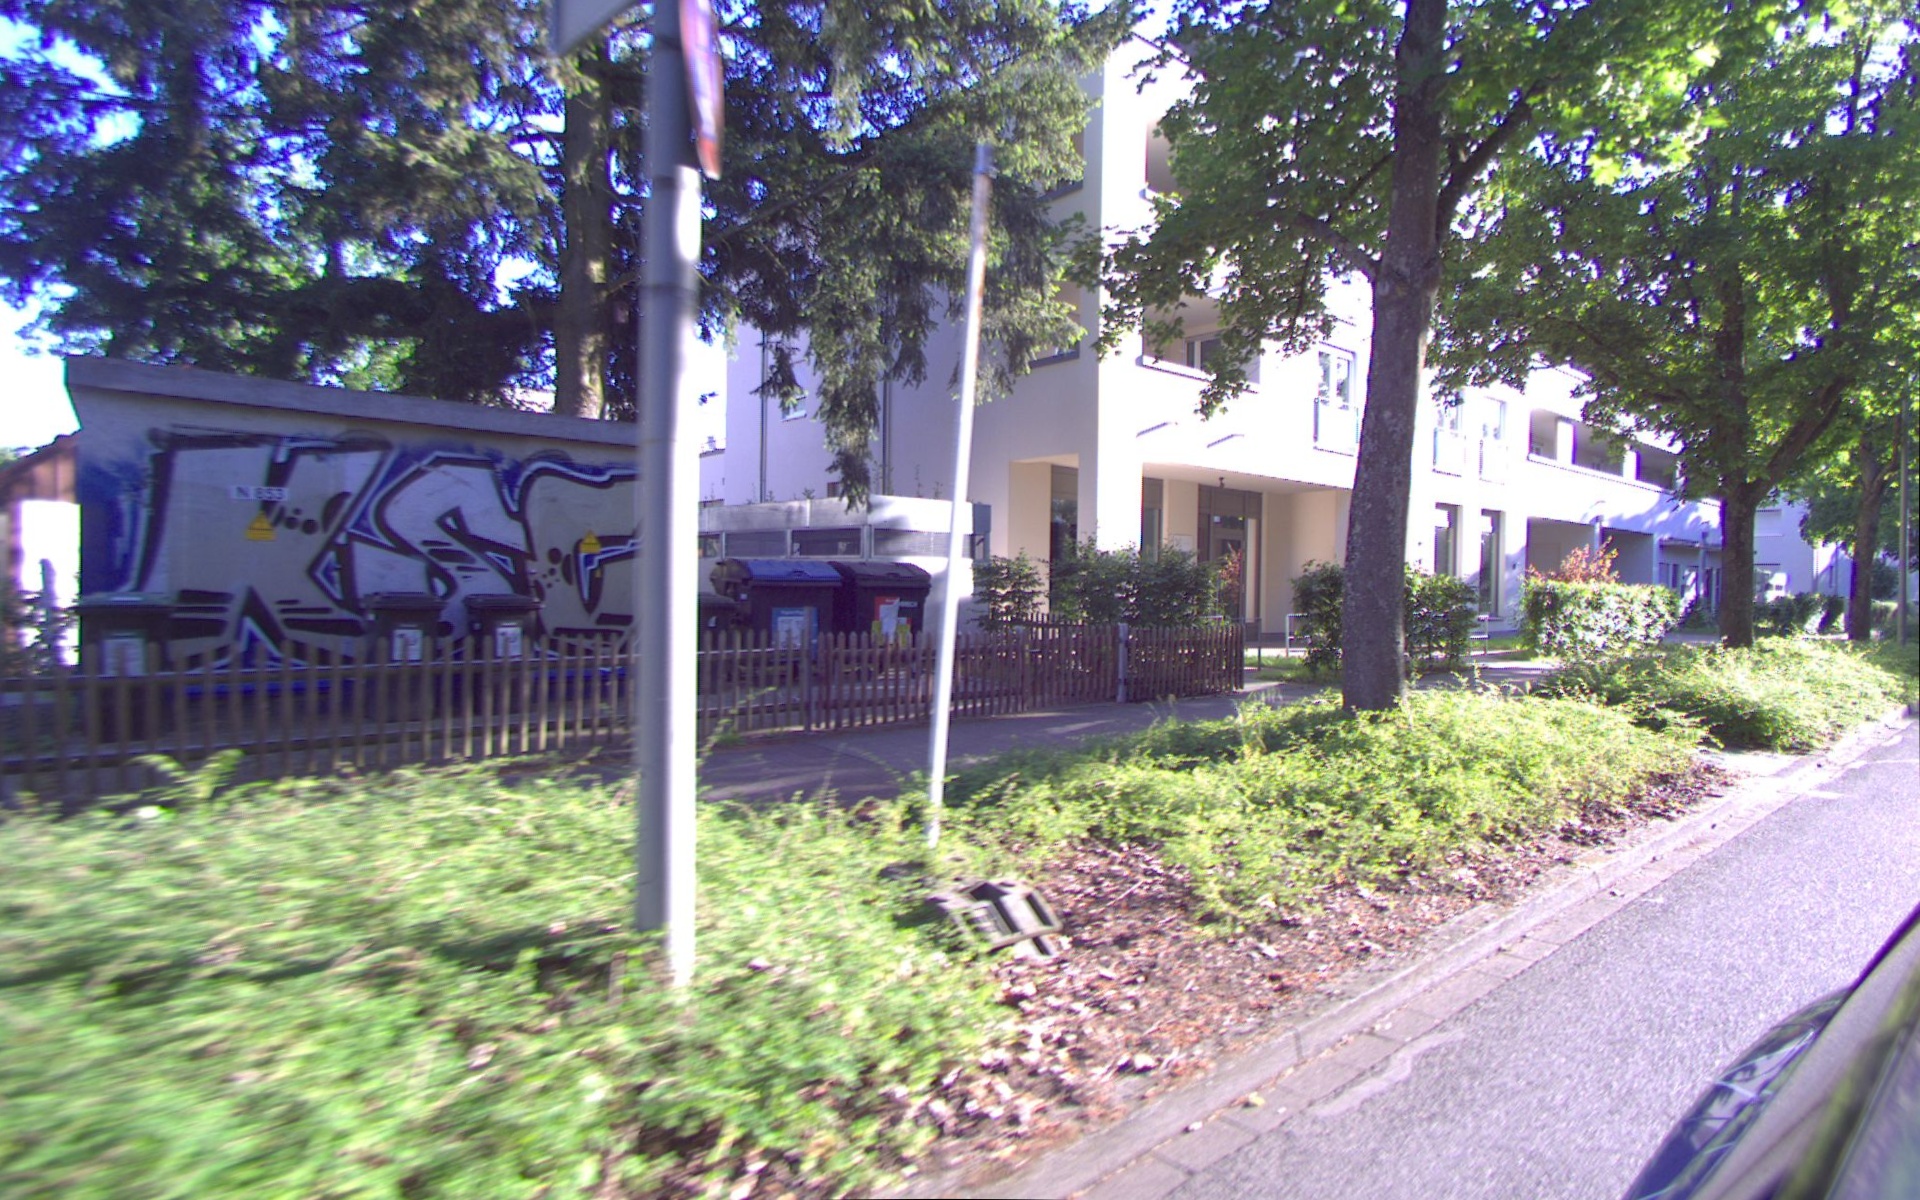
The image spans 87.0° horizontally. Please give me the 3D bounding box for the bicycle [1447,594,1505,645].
[{"bbox_3d":[11.707,0.423,22.924,2.076,1.101,0.419,-1,0,-41],"label":"bicycle"}]

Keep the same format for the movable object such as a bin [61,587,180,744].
[{"bbox_3d":[-6.055,0.437,7.301,0.634,1.042,0.644,0,3,-42],"label":"movable object such as a bin"}]

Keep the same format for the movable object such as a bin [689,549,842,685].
[{"bbox_3d":[-2.251,0.159,11.736,1.363,1.448,1.081,0,3,-42],"label":"movable object such as a bin"}]

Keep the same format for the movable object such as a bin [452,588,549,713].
[{"bbox_3d":[-4.118,0.428,9.063,0.630,1.042,0.607,0,3,-42],"label":"movable object such as a bin"}]

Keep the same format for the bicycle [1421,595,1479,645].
[{"bbox_3d":[11.308,0.432,23.311,2.076,1.101,0.419,-1,0,-41],"label":"bicycle"}]

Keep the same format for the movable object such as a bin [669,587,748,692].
[{"bbox_3d":[-2.642,0.396,10.629,0.604,1.042,0.539,0,3,-42],"label":"movable object such as a bin"}]

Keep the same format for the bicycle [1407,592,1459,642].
[{"bbox_3d":[11.117,0.376,23.764,1.756,1.125,0.419,0,0,-41],"label":"bicycle"}]

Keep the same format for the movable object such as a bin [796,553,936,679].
[{"bbox_3d":[-1.170,0.164,12.611,1.343,1.444,1.081,0,3,-42],"label":"movable object such as a bin"}]

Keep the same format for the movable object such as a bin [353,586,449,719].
[{"bbox_3d":[-4.700,0.414,8.500,0.584,1.042,0.615,0,3,-42],"label":"movable object such as a bin"}]
